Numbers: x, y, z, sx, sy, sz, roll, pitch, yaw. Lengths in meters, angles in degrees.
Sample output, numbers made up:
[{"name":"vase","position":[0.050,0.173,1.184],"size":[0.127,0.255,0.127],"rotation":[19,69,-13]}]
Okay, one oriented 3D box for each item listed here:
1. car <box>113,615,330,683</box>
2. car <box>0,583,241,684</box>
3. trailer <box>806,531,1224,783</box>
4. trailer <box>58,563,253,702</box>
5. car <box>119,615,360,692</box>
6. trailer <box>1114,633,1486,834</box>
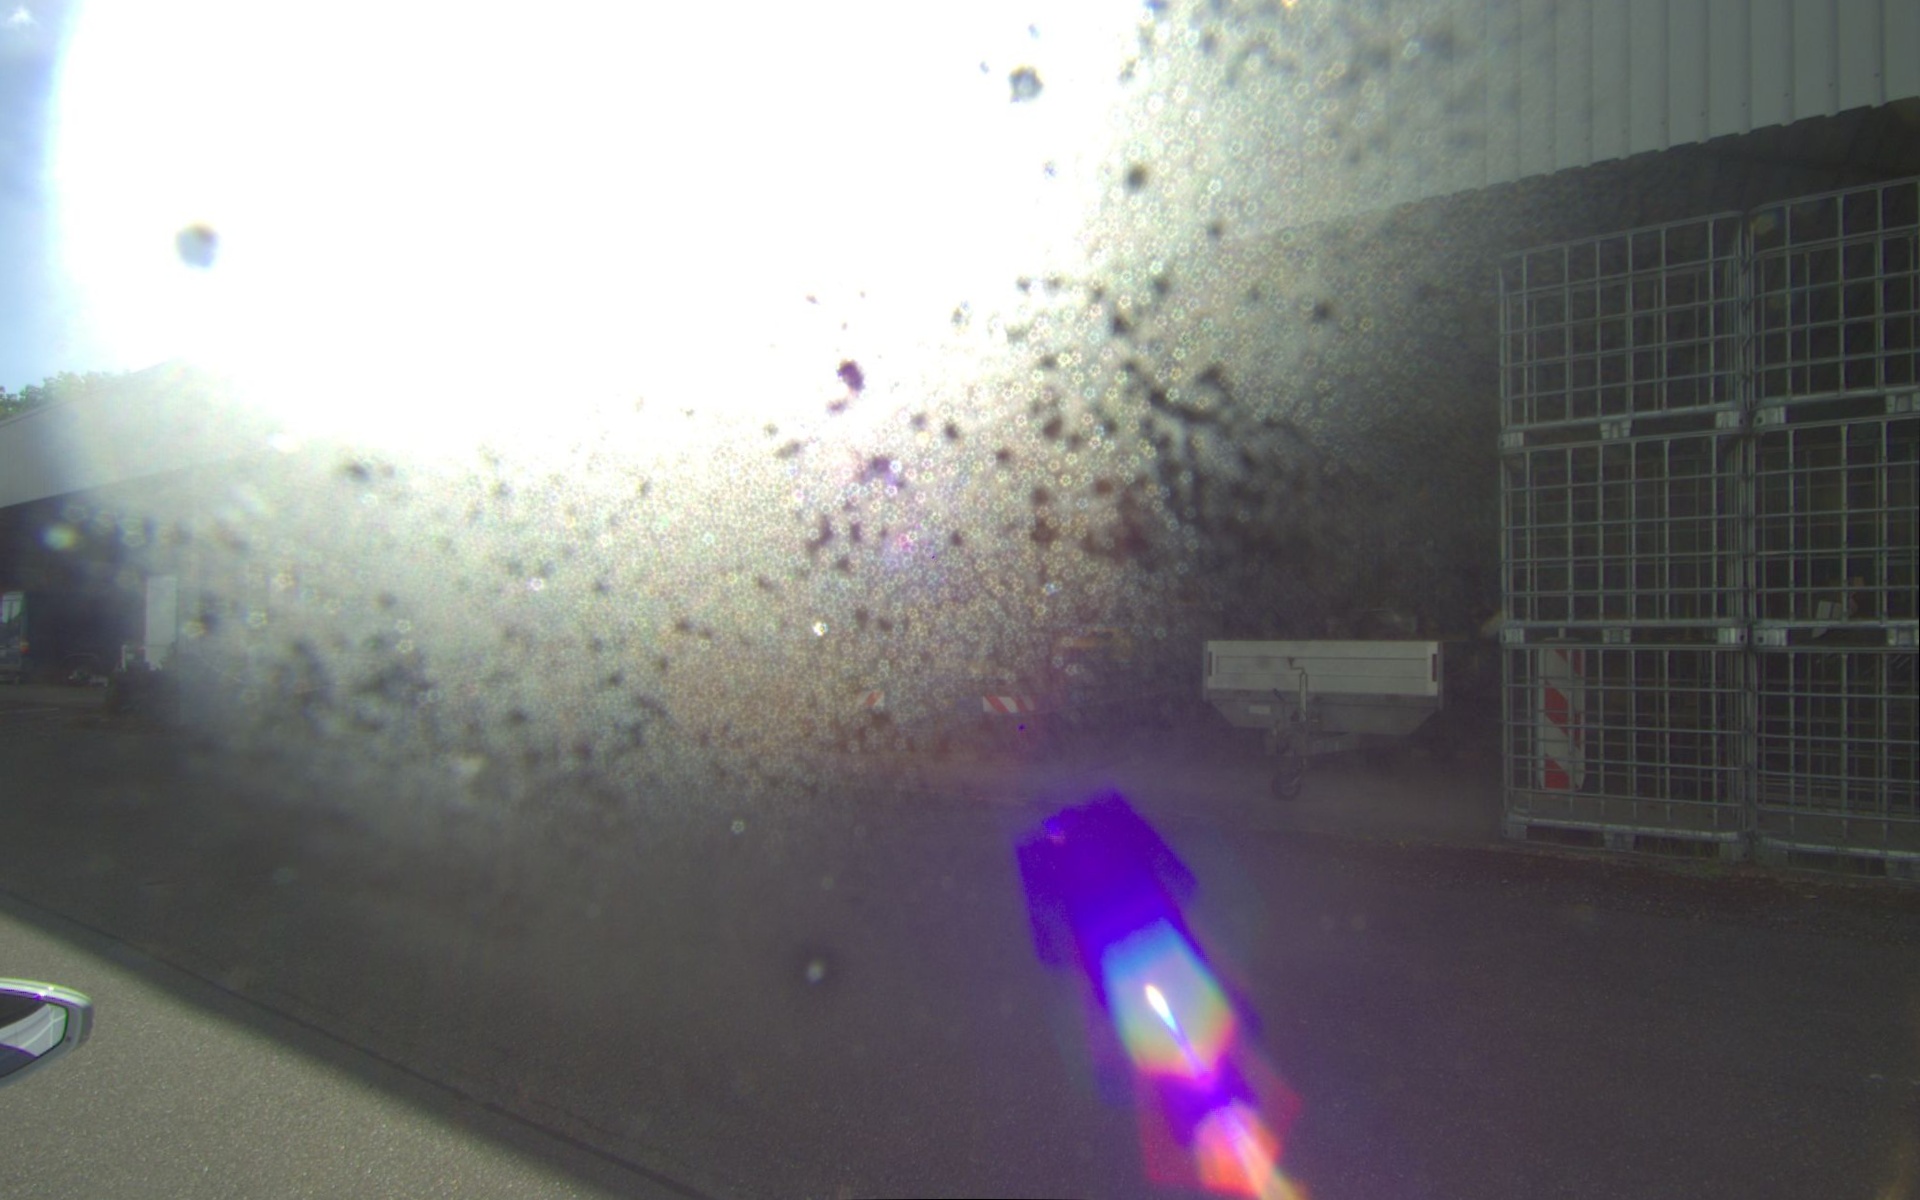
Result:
[{"name":"car","position":[-18.235,1.255,24.915],"size":[1.662,1.543,4.031],"rotation":[-3,-5,33]},{"name":"car","position":[-21.387,0.939,25.644],"size":[1.890,2.337,4.425],"rotation":[-3,-4,33]},{"name":"trailer","position":[0.994,0.525,11.159],"size":[2.049,2.058,5.753],"rotation":[-1,-1,33]},{"name":"trailer","position":[-15.281,0.632,19.099],"size":[1.703,2.429,2.518],"rotation":[-2,-2,33]},{"name":"car","position":[-15.896,1.228,22.298],"size":[1.662,1.543,4.031],"rotation":[-3,-5,33]},{"name":"trailer","position":[3.486,0.919,9.177],"size":[2.110,1.148,5.840],"rotation":[-1,-1,30]}]
